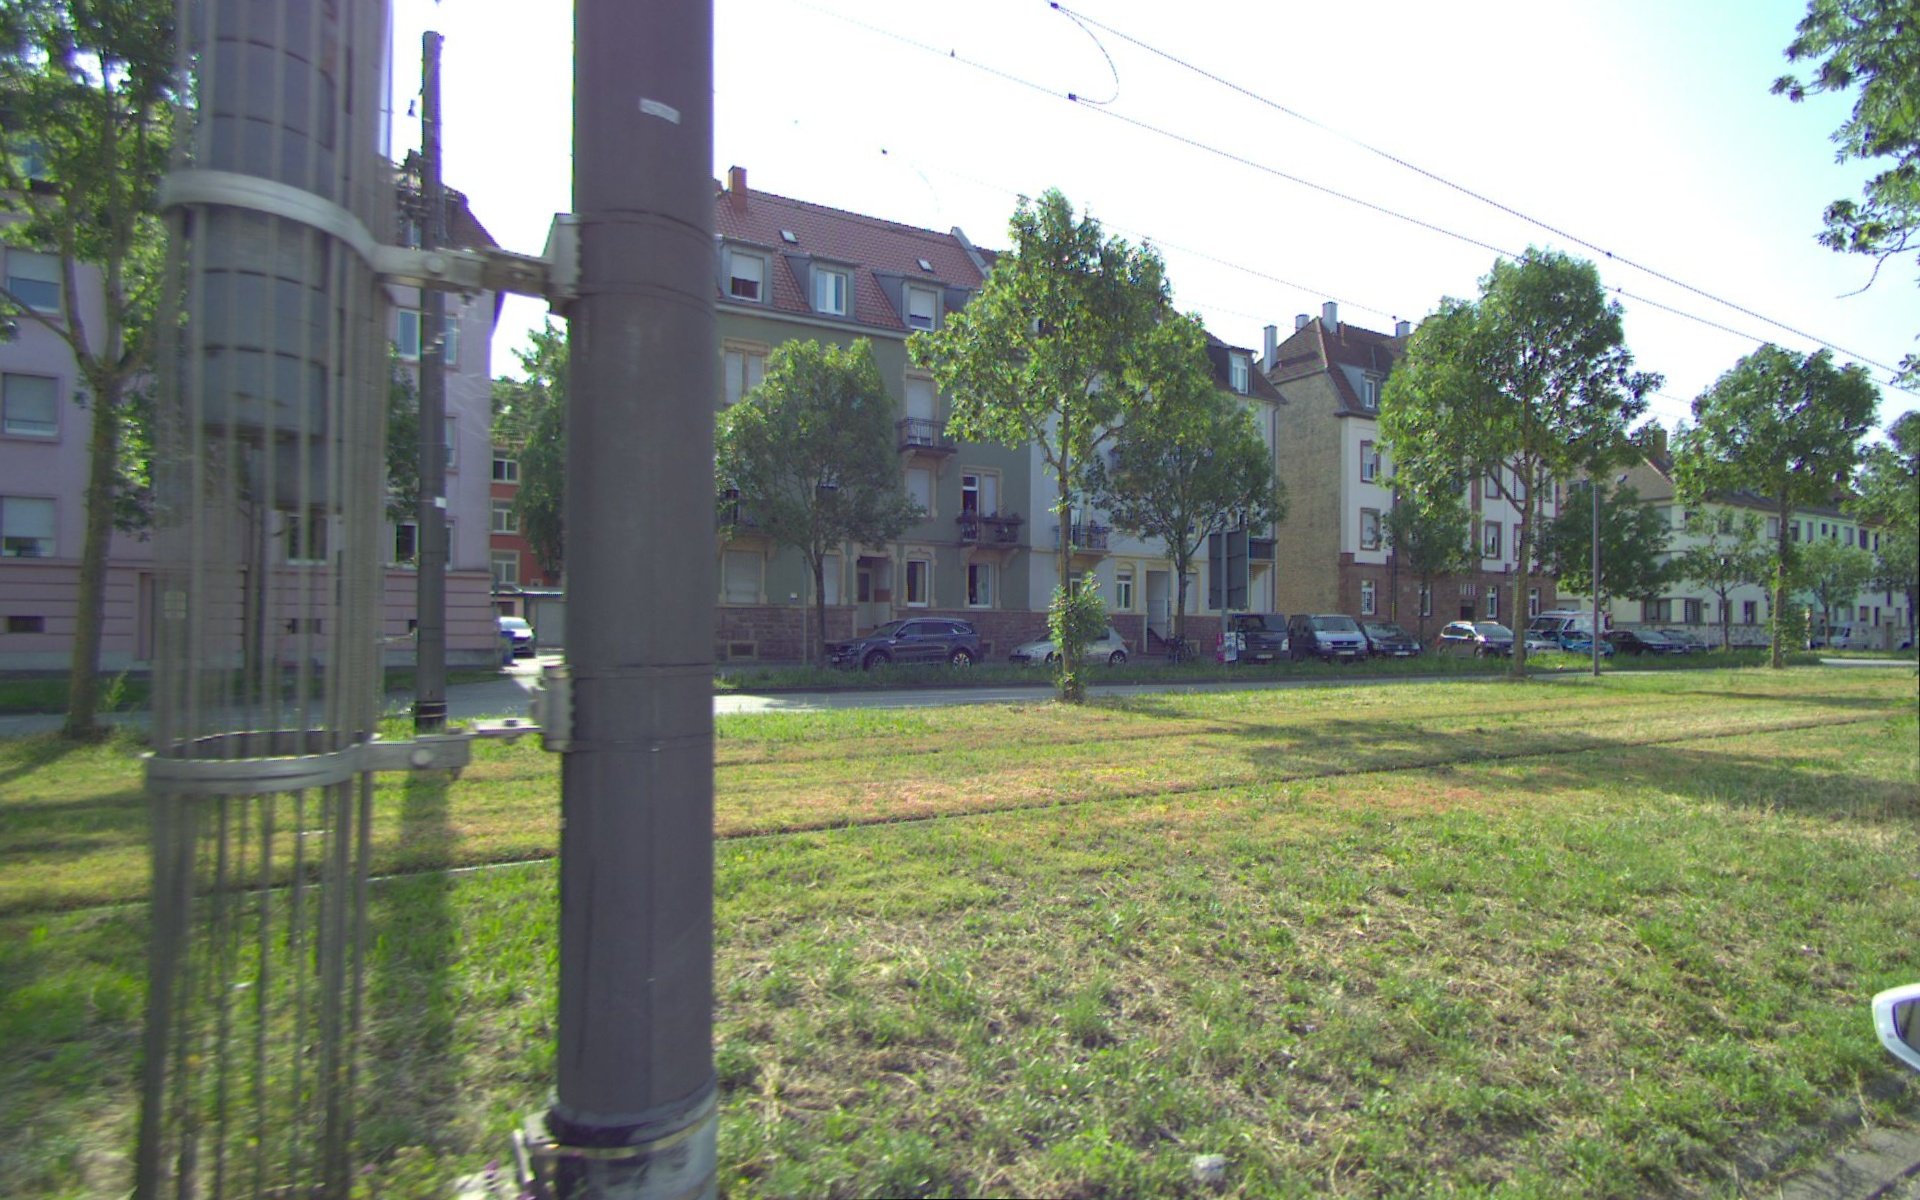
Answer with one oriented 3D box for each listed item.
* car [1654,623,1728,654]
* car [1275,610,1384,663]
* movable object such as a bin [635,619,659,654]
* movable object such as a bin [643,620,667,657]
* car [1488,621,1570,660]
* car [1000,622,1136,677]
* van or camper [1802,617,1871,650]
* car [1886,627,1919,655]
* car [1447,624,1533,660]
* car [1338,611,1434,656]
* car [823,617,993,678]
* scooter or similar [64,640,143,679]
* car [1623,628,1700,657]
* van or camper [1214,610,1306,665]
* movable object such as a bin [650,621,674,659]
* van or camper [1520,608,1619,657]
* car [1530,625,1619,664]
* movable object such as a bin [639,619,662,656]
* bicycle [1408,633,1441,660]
[{"bbox_3d":[35.849,1.866,49.356,1.467,1.344,3.166,2,0,4],"label":"car"},{"bbox_3d":[13.141,1.241,36.135,2.016,1.645,5.222,2,0,1],"label":"car"},{"bbox_3d":[-11.057,1.289,35.478,0.633,1.227,0.582,2,1,-31],"label":"movable object such as a bin"},{"bbox_3d":[-10.444,1.318,34.370,0.633,1.227,0.582,2,1,-31],"label":"movable object such as a bin"},{"bbox_3d":[24.456,1.709,43.321,1.545,1.436,4.002,2,0,5],"label":"car"},{"bbox_3d":[3.558,1.597,32.941,4.105,1.650,1.881,1,1,-29],"label":"car"},{"bbox_3d":[66.401,2.536,76.054,5.755,2.359,1.985,2,1,-28],"label":"van or camper"},{"bbox_3d":[65.510,2.841,67.476,1.960,1.761,5.329,2,0,4],"label":"car"},{"bbox_3d":[22.021,1.716,41.875,1.606,1.286,4.001,2,0,3],"label":"car"},{"bbox_3d":[15.883,1.208,37.752,1.935,1.438,4.478,2,0,4],"label":"car"},{"bbox_3d":[-1.533,1.386,30.138,4.721,1.650,1.983,1,1,-32],"label":"car"},{"bbox_3d":[-19.298,1.343,22.650,1.202,0.823,0.603,2,1,-20],"label":"scooter or similar"},{"bbox_3d":[32.729,1.962,46.965,1.467,1.176,3.165,2,0,3],"label":"car"},{"bbox_3d":[10.440,1.250,35.318,1.962,1.645,4.852,2,0,3],"label":"van or camper"},{"bbox_3d":[-10.024,1.337,33.790,0.633,1.227,0.582,2,1,-31],"label":"movable object such as a bin"},{"bbox_3d":[34.496,1.860,56.785,6.283,2.601,2.029,2,1,-31],"label":"van or camper"},{"bbox_3d":[26.735,1.905,43.852,1.545,1.436,4.001,2,0,4],"label":"car"},{"bbox_3d":[-10.762,1.303,34.930,0.633,1.227,0.582,2,1,-31],"label":"movable object such as a bin"},{"bbox_3d":[18.693,1.853,40.395,1.989,1.063,0.460,2,1,-44],"label":"bicycle"}]
